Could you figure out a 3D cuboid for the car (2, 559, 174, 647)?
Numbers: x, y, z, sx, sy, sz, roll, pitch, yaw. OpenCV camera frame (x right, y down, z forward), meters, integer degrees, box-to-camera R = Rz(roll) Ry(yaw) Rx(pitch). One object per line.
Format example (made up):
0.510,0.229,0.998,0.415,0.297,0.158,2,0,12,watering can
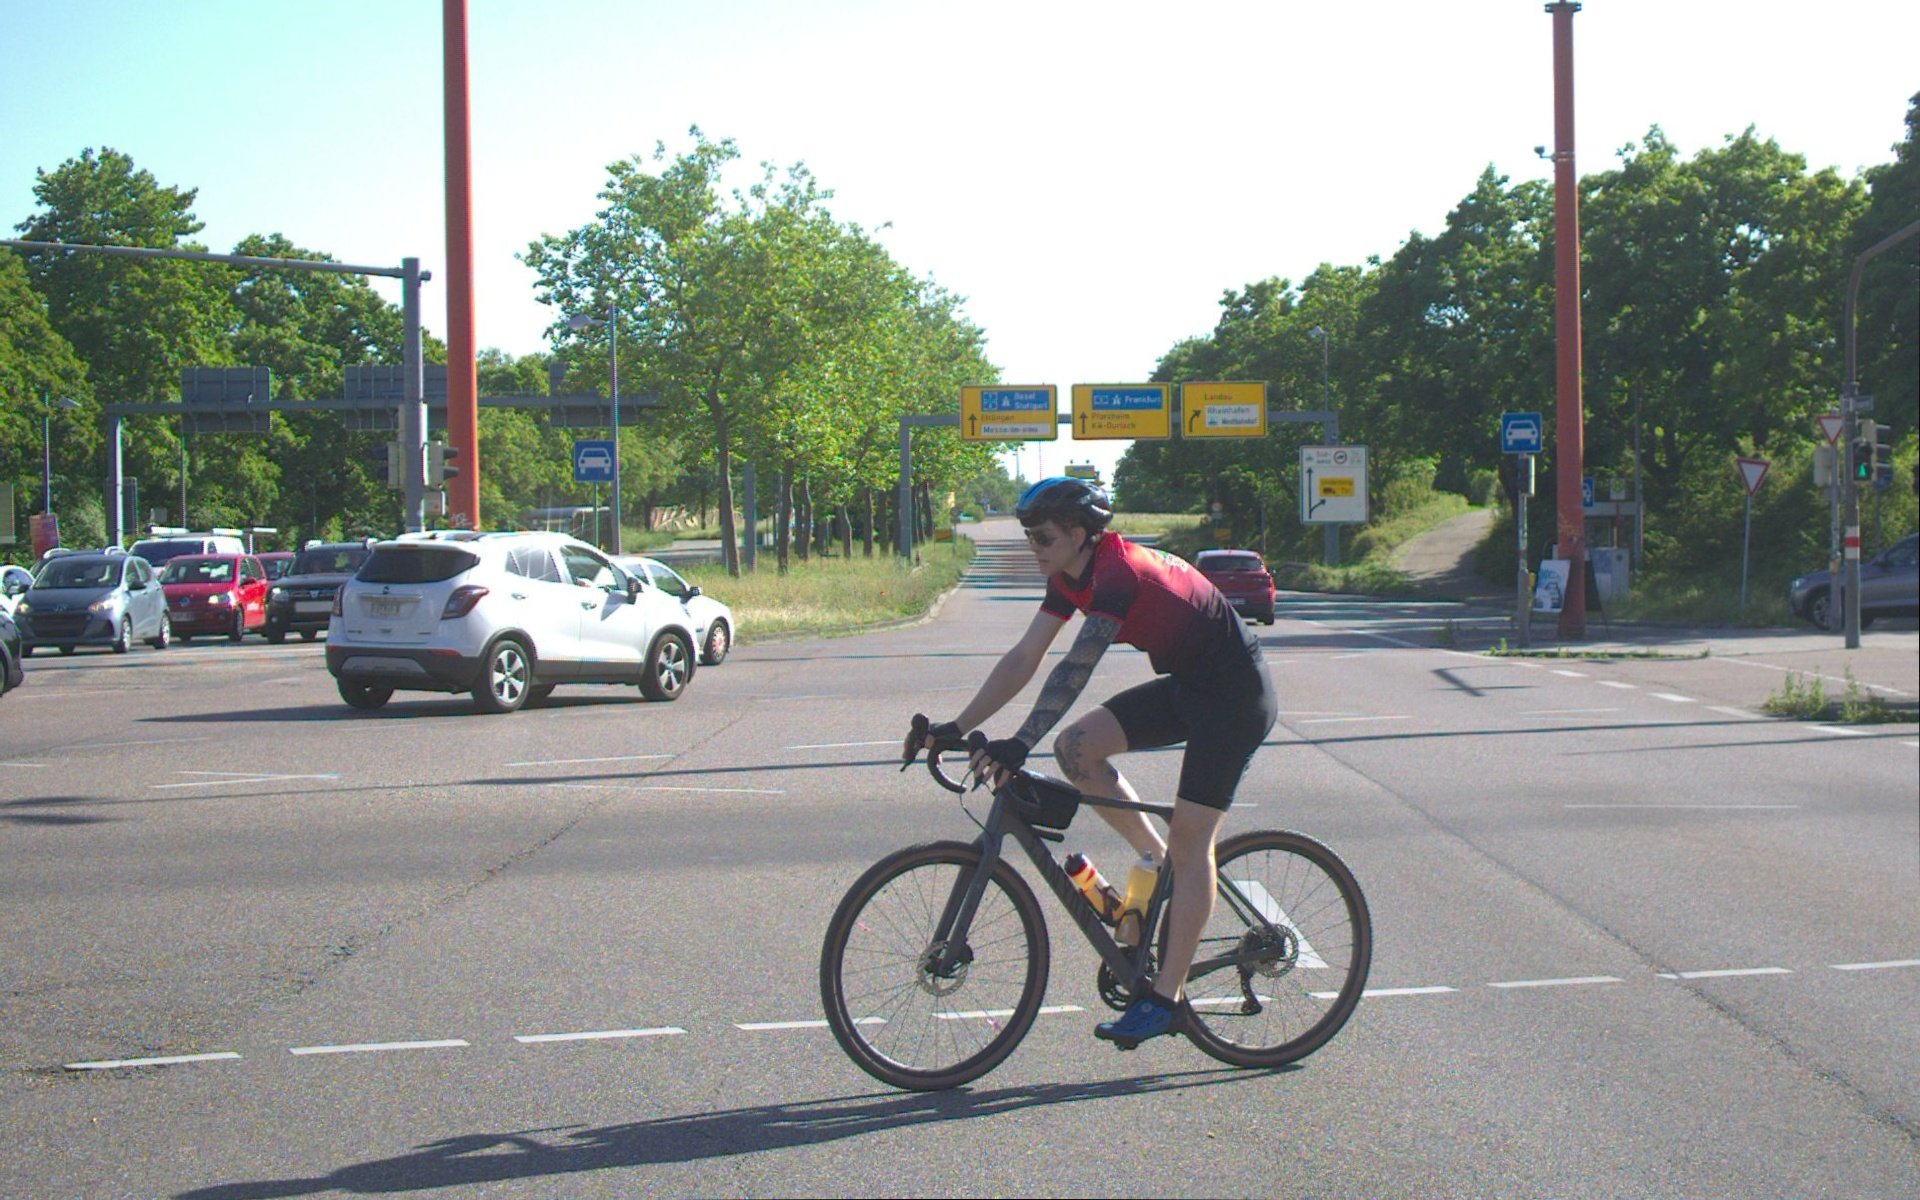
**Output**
-13.118,0.020,51.901,1.739,1.239,3.613,-1,1,-1,car

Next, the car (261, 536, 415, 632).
-10.102,-0.282,56.081,1.819,1.503,4.000,-1,1,-1,car

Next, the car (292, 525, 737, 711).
-4.113,0.116,32.368,1.826,1.630,4.245,0,1,33,car

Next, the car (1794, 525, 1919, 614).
16.500,-0.524,58.259,4.321,1.480,1.783,0,1,25,car

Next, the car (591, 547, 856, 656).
-3.006,0.017,44.410,1.485,1.341,3.993,0,0,29,car

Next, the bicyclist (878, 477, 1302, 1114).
0.366,0.523,9.902,0.993,1.735,0.737,-1,1,-21,bicyclist

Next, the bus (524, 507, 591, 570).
-21.418,-3.284,183.314,2.492,3.227,10.001,-1,1,-1,bus

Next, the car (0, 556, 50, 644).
-16.427,-0.014,57.109,1.739,1.406,3.613,-1,1,-1,car

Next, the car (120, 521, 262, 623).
-15.875,-0.583,71.205,1.893,2.019,5.223,1,0,-1,car

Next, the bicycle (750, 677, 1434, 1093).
0.382,0.781,9.910,1.825,1.054,0.723,-1,1,-21,bicycle

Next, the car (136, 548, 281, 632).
-12.694,-0.185,58.270,1.739,1.357,3.613,-1,1,-1,car

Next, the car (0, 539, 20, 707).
-10.675,0.244,30.520,1.856,1.540,4.253,0,1,37,car

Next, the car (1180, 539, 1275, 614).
5.303,-0.485,67.856,1.680,1.430,4.064,0,1,7,car
